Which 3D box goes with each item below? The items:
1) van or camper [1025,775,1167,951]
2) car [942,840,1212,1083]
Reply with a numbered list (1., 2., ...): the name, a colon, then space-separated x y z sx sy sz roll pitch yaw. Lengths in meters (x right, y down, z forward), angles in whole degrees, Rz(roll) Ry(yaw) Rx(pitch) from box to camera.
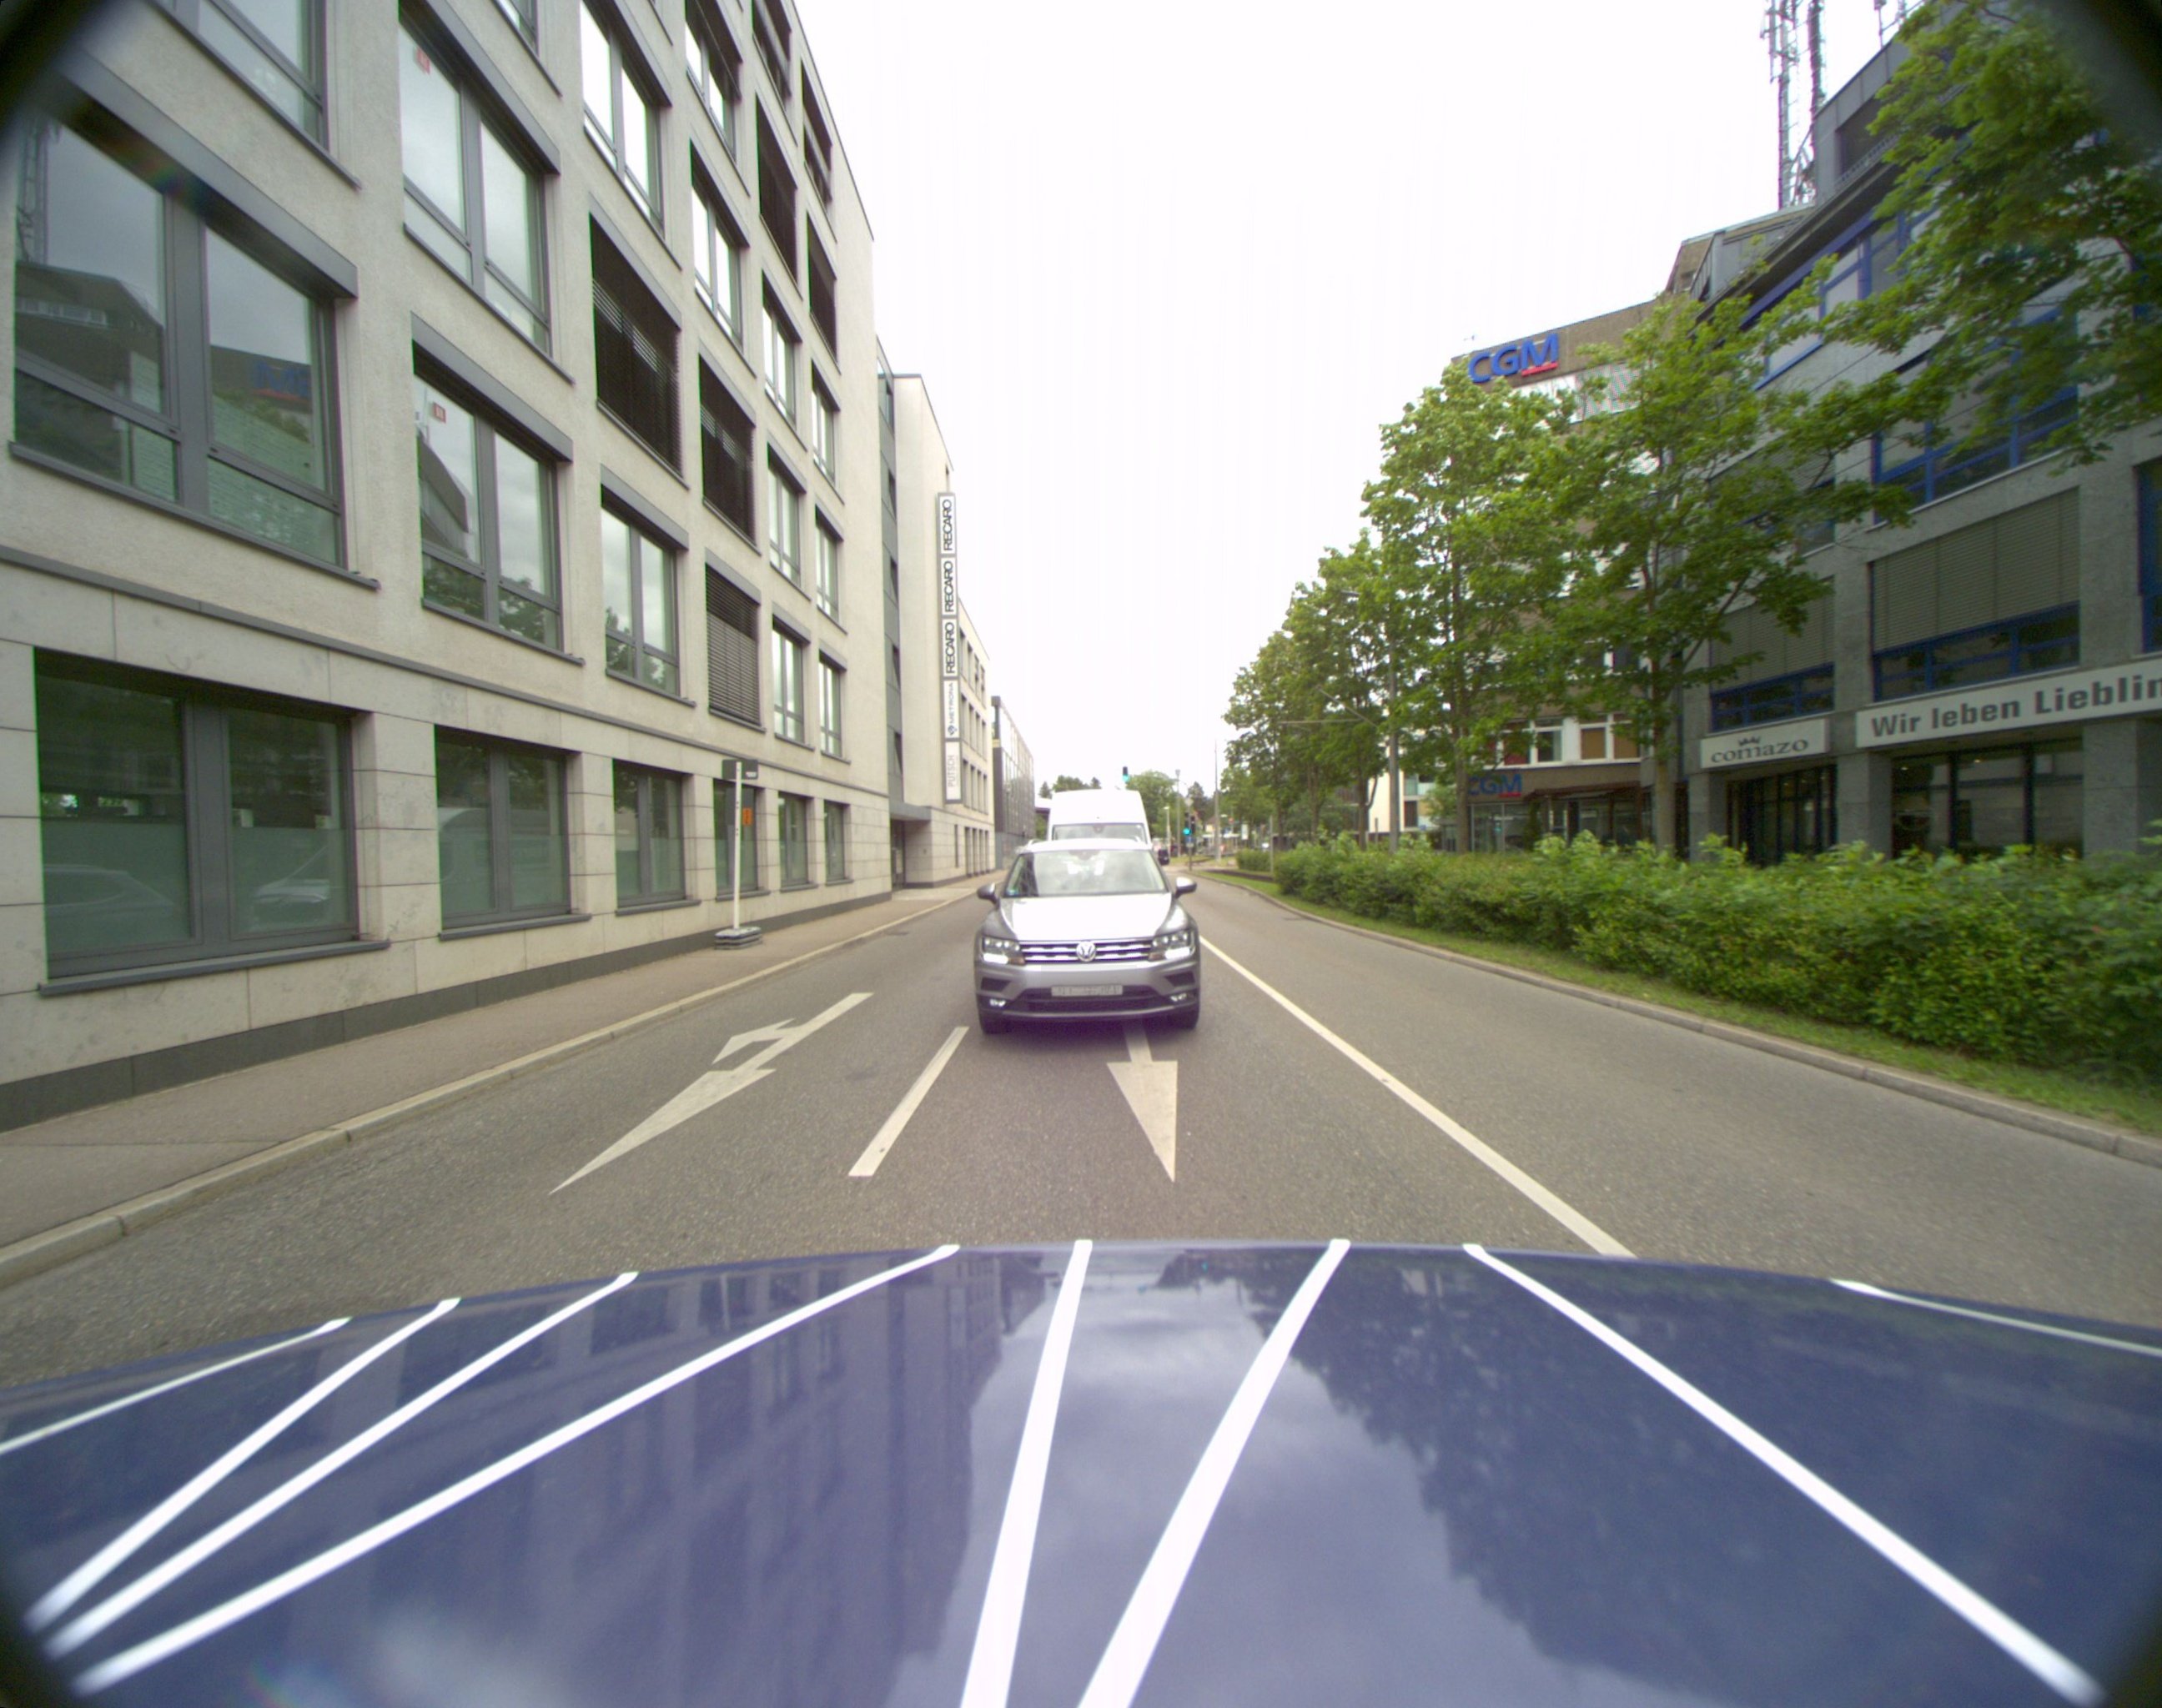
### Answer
1. van or camper: 0.187 0.109 15.187 2.110 2.675 6.297 -3 1 -1
2. car: 0.002 0.743 7.567 1.833 1.636 4.326 -3 1 1
